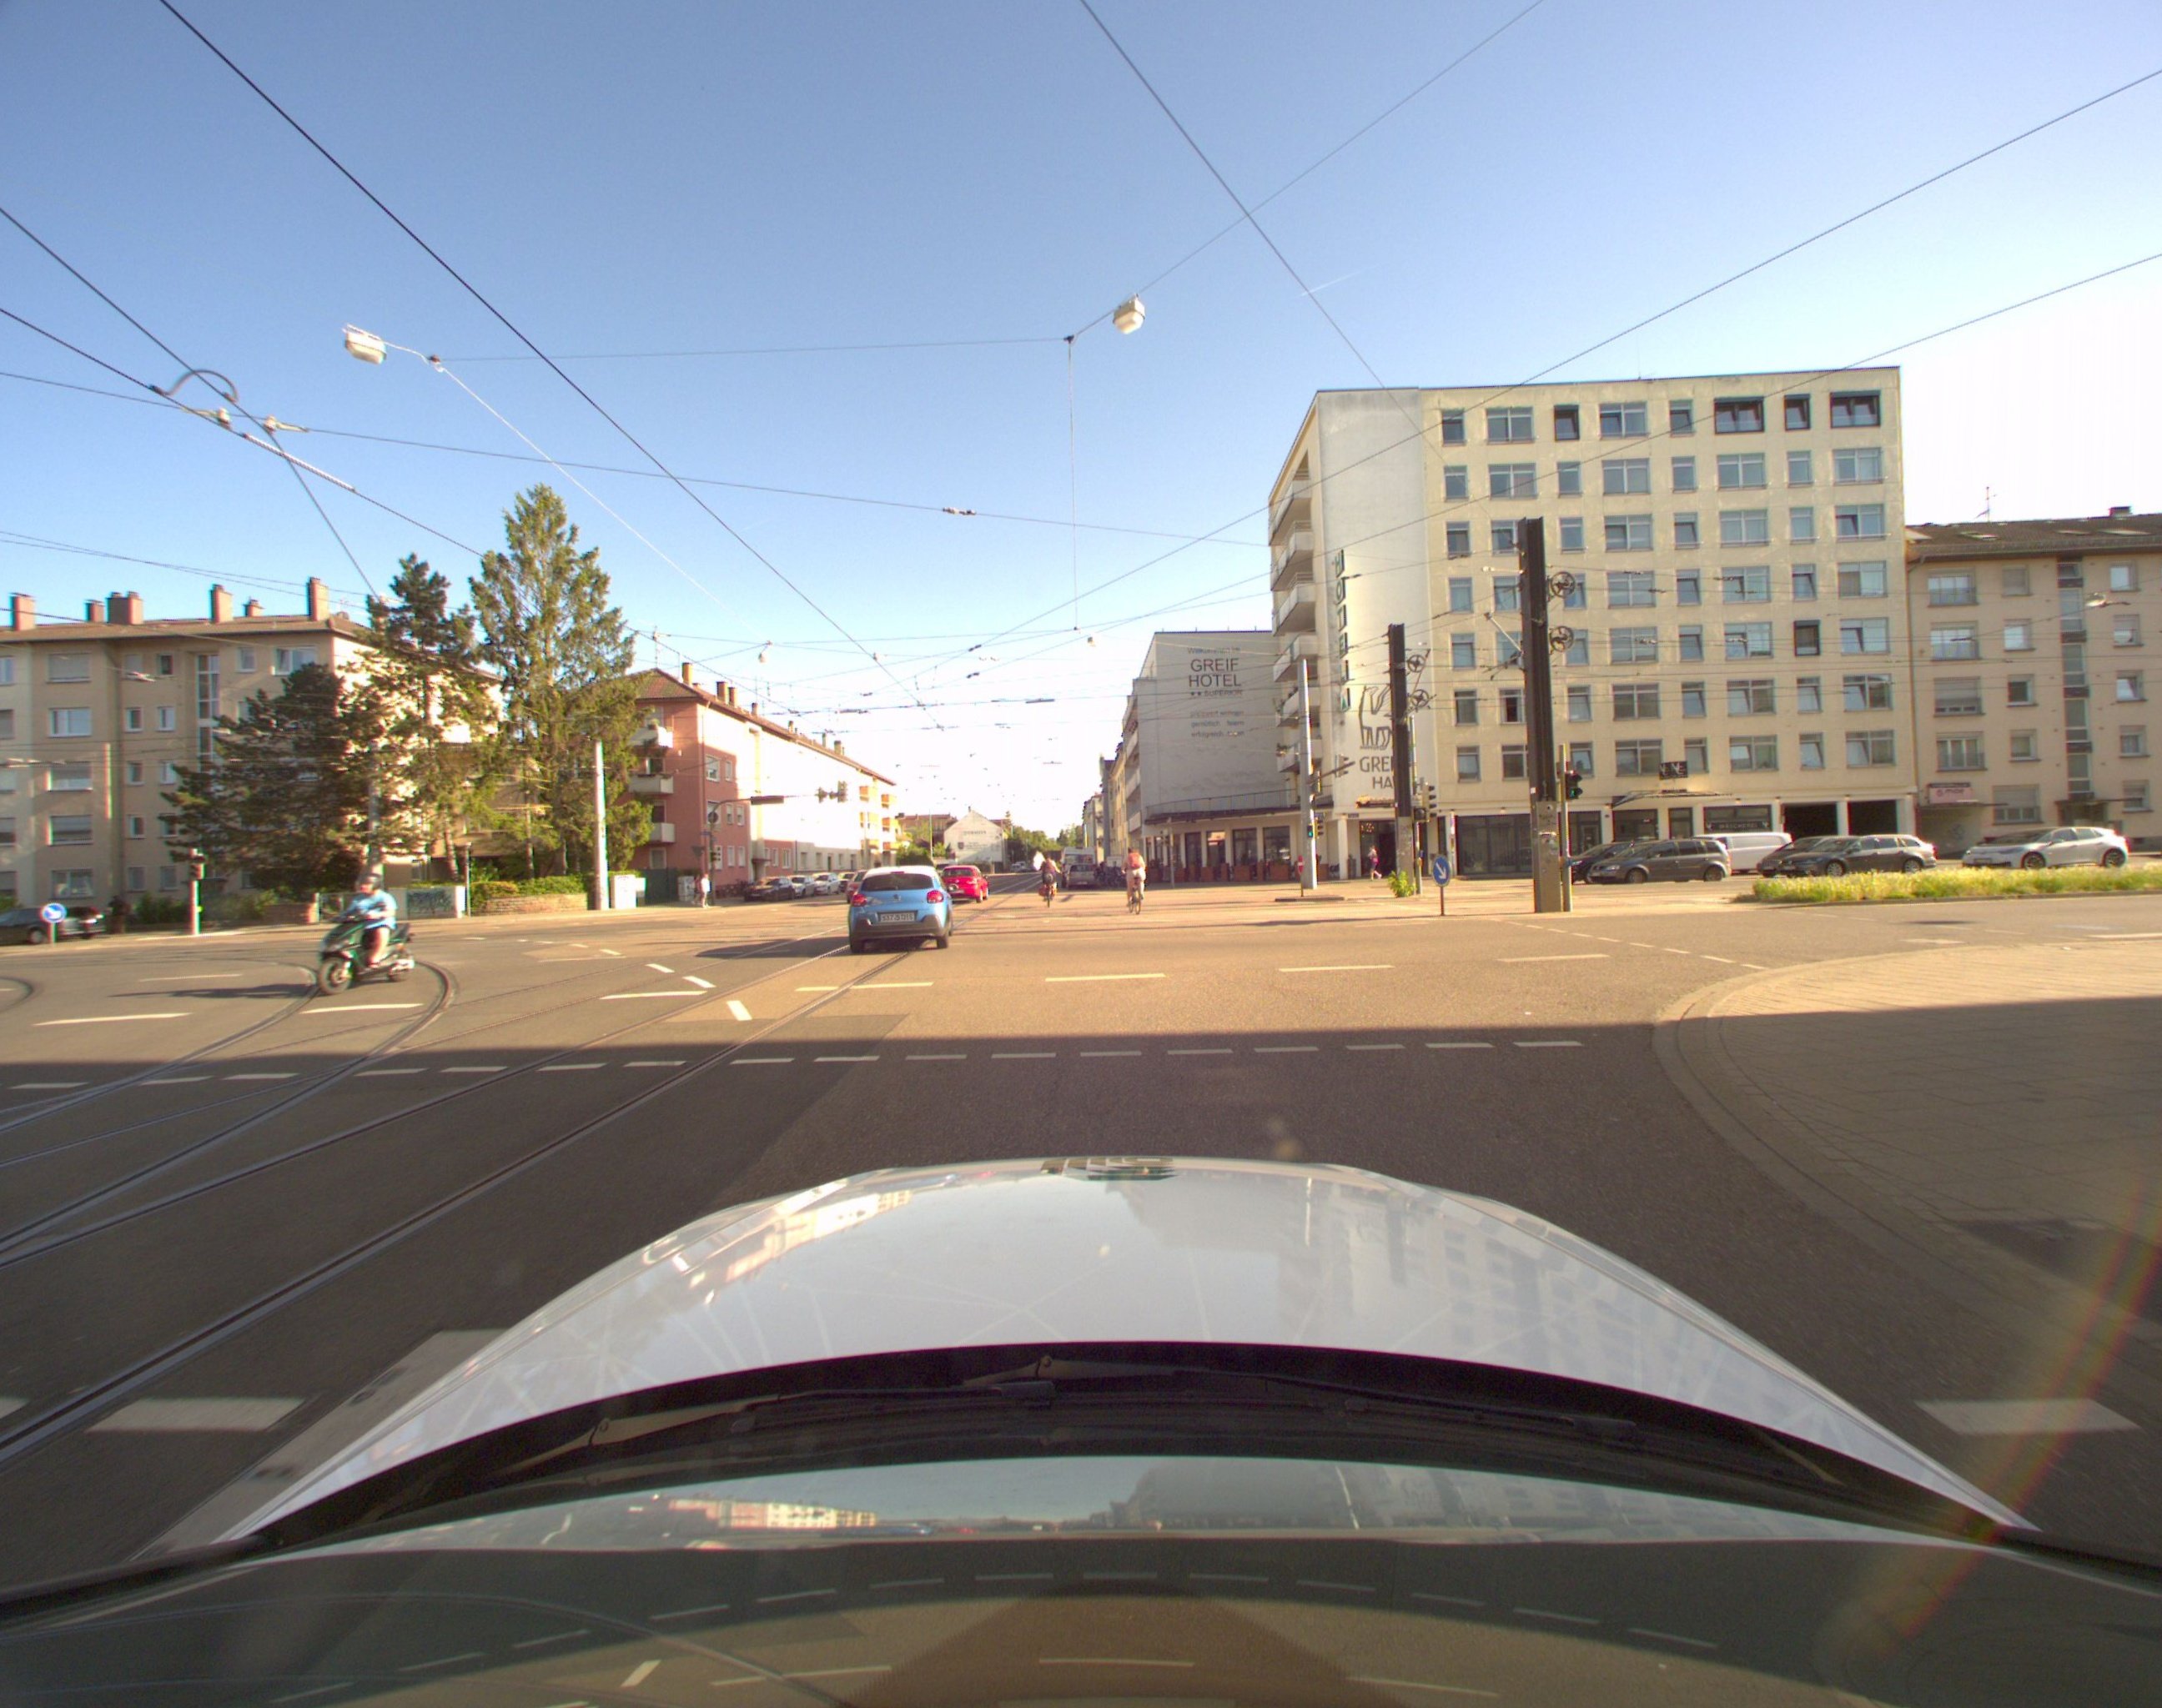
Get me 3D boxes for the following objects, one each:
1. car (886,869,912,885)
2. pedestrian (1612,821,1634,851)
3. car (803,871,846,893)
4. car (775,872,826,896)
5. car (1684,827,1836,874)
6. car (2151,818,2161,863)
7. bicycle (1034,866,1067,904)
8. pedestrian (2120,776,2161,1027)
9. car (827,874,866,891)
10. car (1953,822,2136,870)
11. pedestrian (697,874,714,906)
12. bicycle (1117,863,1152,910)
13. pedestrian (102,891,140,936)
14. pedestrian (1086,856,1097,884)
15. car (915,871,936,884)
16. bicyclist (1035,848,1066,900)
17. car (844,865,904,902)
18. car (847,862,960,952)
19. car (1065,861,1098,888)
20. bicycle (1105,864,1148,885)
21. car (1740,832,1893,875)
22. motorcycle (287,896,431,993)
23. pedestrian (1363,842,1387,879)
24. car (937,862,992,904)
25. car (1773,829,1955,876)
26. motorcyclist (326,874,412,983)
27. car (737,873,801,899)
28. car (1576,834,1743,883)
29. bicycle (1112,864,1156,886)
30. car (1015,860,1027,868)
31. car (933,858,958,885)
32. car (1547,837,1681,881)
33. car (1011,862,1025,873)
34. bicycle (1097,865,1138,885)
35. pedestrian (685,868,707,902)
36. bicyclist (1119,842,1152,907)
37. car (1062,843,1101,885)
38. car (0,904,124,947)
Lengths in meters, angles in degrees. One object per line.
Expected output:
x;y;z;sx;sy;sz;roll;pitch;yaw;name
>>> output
-18.596;2.343;83.324;1.865;1.576;3.996;0;-1;-3;car
26.107;-0.857;39.246;0.529;1.376;0.680;0;-1;-20;pedestrian
-18.277;1.967;58.159;1.736;1.526;4.228;0;-1;-1;car
-18.360;1.941;53.519;1.897;1.437;4.103;0;-1;1;car
30.765;-0.172;36.999;5.290;1.868;1.949;-2;2;1;car
40.678;-0.611;28.230;4.600;1.577;1.870;-2;-3;0;car
-0.989;0.995;26.685;0.937;1.223;2.095;0;-1;2;bicycle
4.020;0.503;2.530;0.534;1.624;0.737;-7;-3;24;pedestrian
-18.667;2.249;64.885;1.941;1.239;4.280;0;-1;-2;car
33.480;-0.250;28.387;4.216;1.515;1.844;-1;-1;-1;car
-18.437;1.759;40.005;0.515;1.568;0.573;0;-1;0;pedestrian
1.444;0.835;21.584;0.806;1.181;2.068;0;-1;7;bicycle
-41.187;2.542;34.943;0.774;1.886;0.701;0;-1;4;pedestrian
0.643;0.950;48.281;0.611;1.654;0.670;0;-1;-3;pedestrian
-18.694;2.829;98.077;1.865;1.576;3.996;0;-1;-3;car
-0.999;0.659;26.805;0.937;1.673;1.079;0;-1;1;bicyclist
-9.275;1.290;36.696;1.774;1.486;3.825;-2;-1;-2;car
-3.221;0.906;15.379;1.735;1.452;3.652;-1;-1;-8;car
-0.013;1.152;46.067;1.654;1.431;3.883;0;-1;-3;car
2.521;1.149;45.357;2.246;1.001;0.855;-3;-1;-3;bicycle
29.287;-0.011;32.534;4.295;1.576;1.989;-1;-1;0;car
-10.231;1.231;11.652;0.713;1.220;1.955;-1;-3;-14;motorcycle
14.206;0.327;39.393;0.904;1.746;0.737;0;-1;-1;pedestrian
-4.607;1.115;32.670;1.780;1.522;3.759;0;0;-2;car
27.383;-0.035;28.608;4.507;1.491;1.825;-1;-1;3;car
-10.267;1.054;11.770;0.694;1.497;0.681;-1;-3;-15;motorcyclist
-18.346;1.888;48.059;2.148;1.432;4.436;0;-3;-2;car
20.220;0.171;28.615;4.420;1.548;1.938;-1;-1;3;car
2.842;1.130;44.121;2.246;1.001;0.855;-3;-1;-3;bicycle
-12.174;2.057;166.334;2.068;1.763;5.035;0;-1;0;car
-16.253;2.058;97.915;2.410;3.142;3.487;0;-1;0;car
20.739;0.216;31.787;4.019;1.576;1.795;-1;-1;0;car
-11.422;2.487;148.845;2.211;1.932;4.948;0;-1;0;car
2.088;1.194;46.460;2.246;1.001;0.855;-3;-1;-3;bicycle
-19.721;1.596;41.734;0.695;1.722;0.789;-1;-2;35;pedestrian
1.447;0.535;21.590;0.806;1.692;0.937;0;-1;7;bicyclist
-0.052;0.640;51.115;2.259;2.482;5.004;-1;-1;-2;car
-42.273;2.900;33.354;4.042;1.628;1.873;0;-1;3;car
